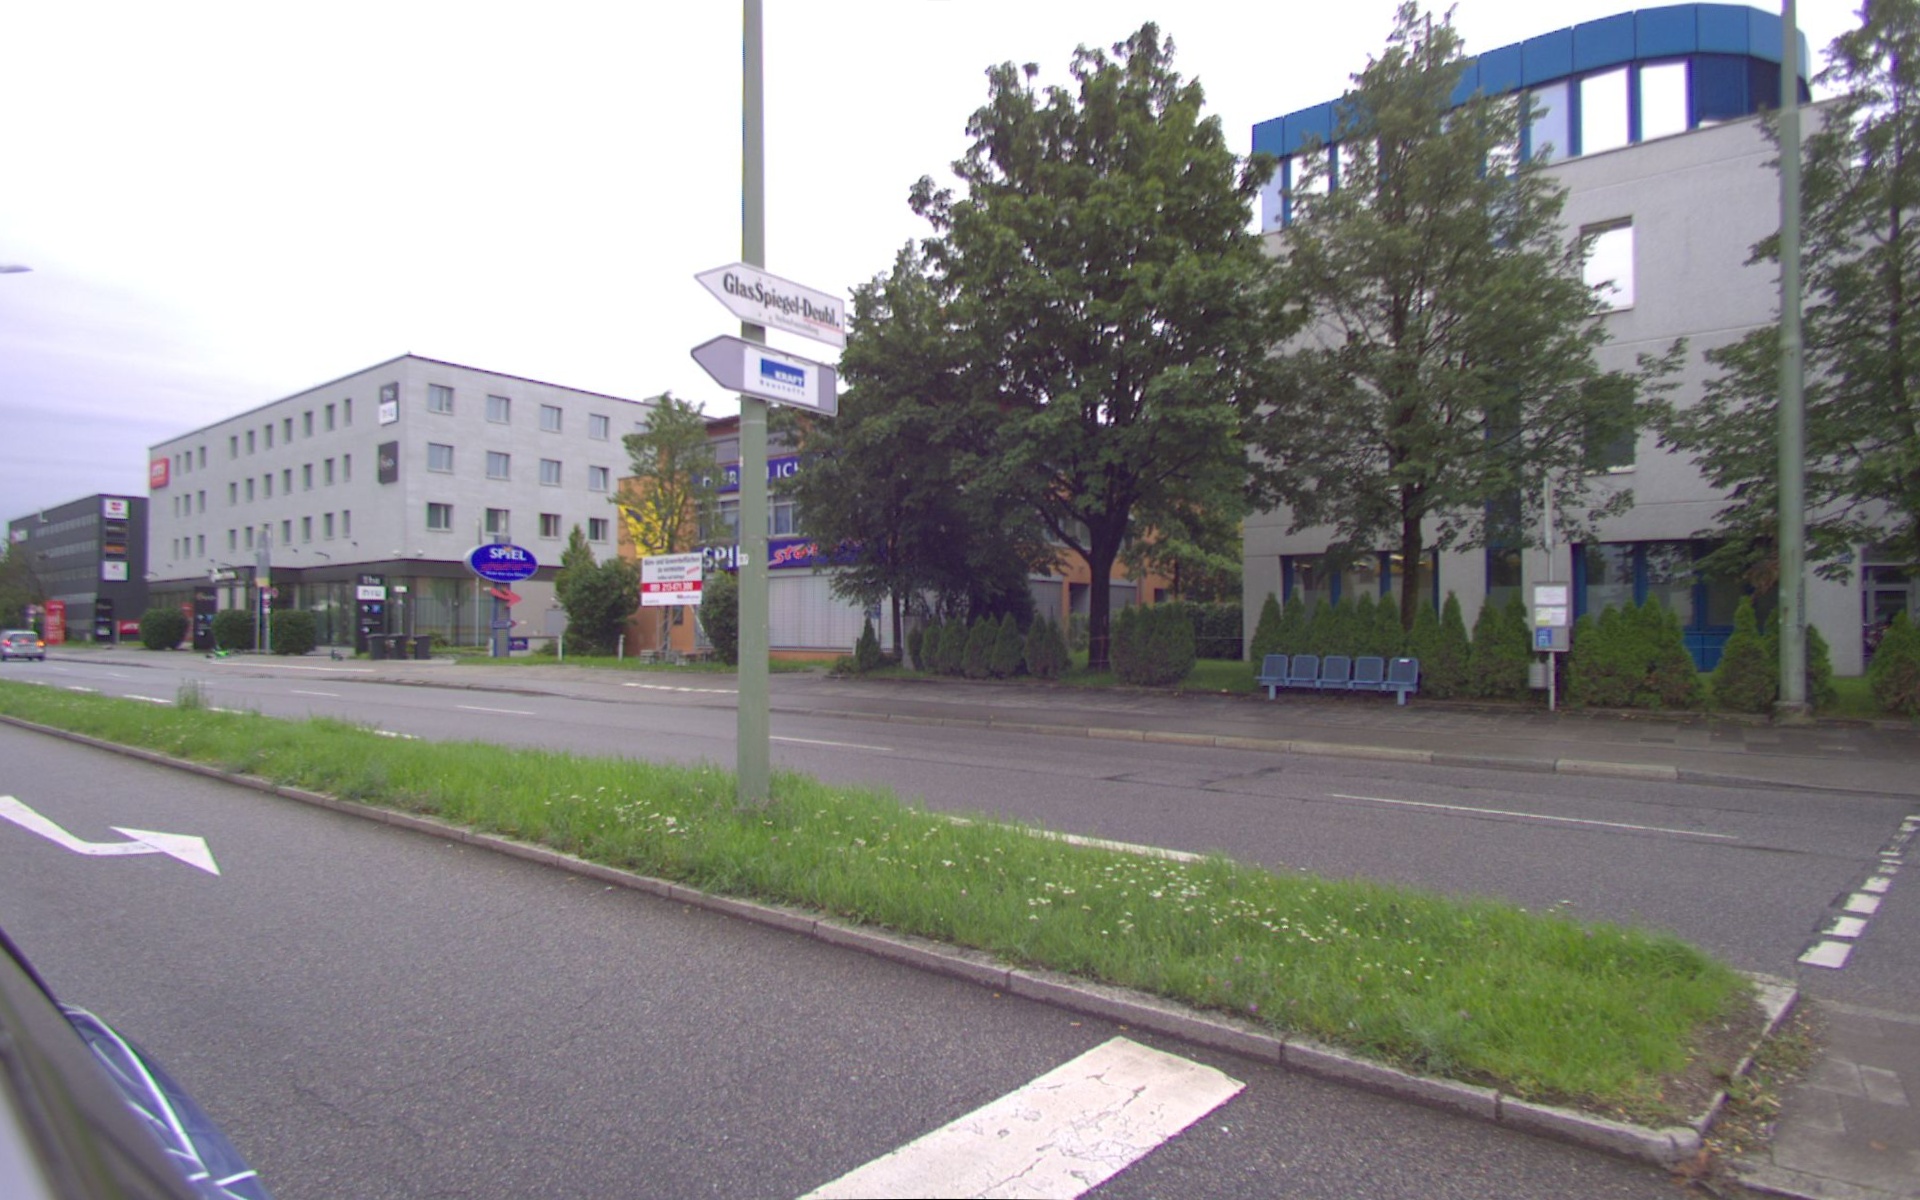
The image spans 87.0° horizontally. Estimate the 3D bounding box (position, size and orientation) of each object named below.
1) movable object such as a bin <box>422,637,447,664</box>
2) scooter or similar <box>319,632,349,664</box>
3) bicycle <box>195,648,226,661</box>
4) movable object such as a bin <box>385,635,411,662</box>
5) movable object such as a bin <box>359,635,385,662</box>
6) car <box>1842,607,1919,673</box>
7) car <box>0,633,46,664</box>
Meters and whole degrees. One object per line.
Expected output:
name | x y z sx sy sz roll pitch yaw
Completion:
movable object such as a bin | -22.335 2.142 42.990 0.654 1.086 0.730 -1 -1 38
scooter or similar | -26.267 2.012 42.457 1.402 1.287 0.580 -1 3 38
bicycle | -35.536 2.578 47.987 1.729 0.553 0.713 -1 1 37
movable object such as a bin | -23.212 1.982 41.782 0.654 1.086 0.730 -1 -1 38
movable object such as a bin | -24.186 1.977 41.618 0.654 1.086 0.730 -1 -1 38
car | 22.745 0.895 23.975 4.108 1.429 1.874 0 -1 -36
car | -50.085 2.543 53.610 4.022 1.569 1.796 -1 -3 39
